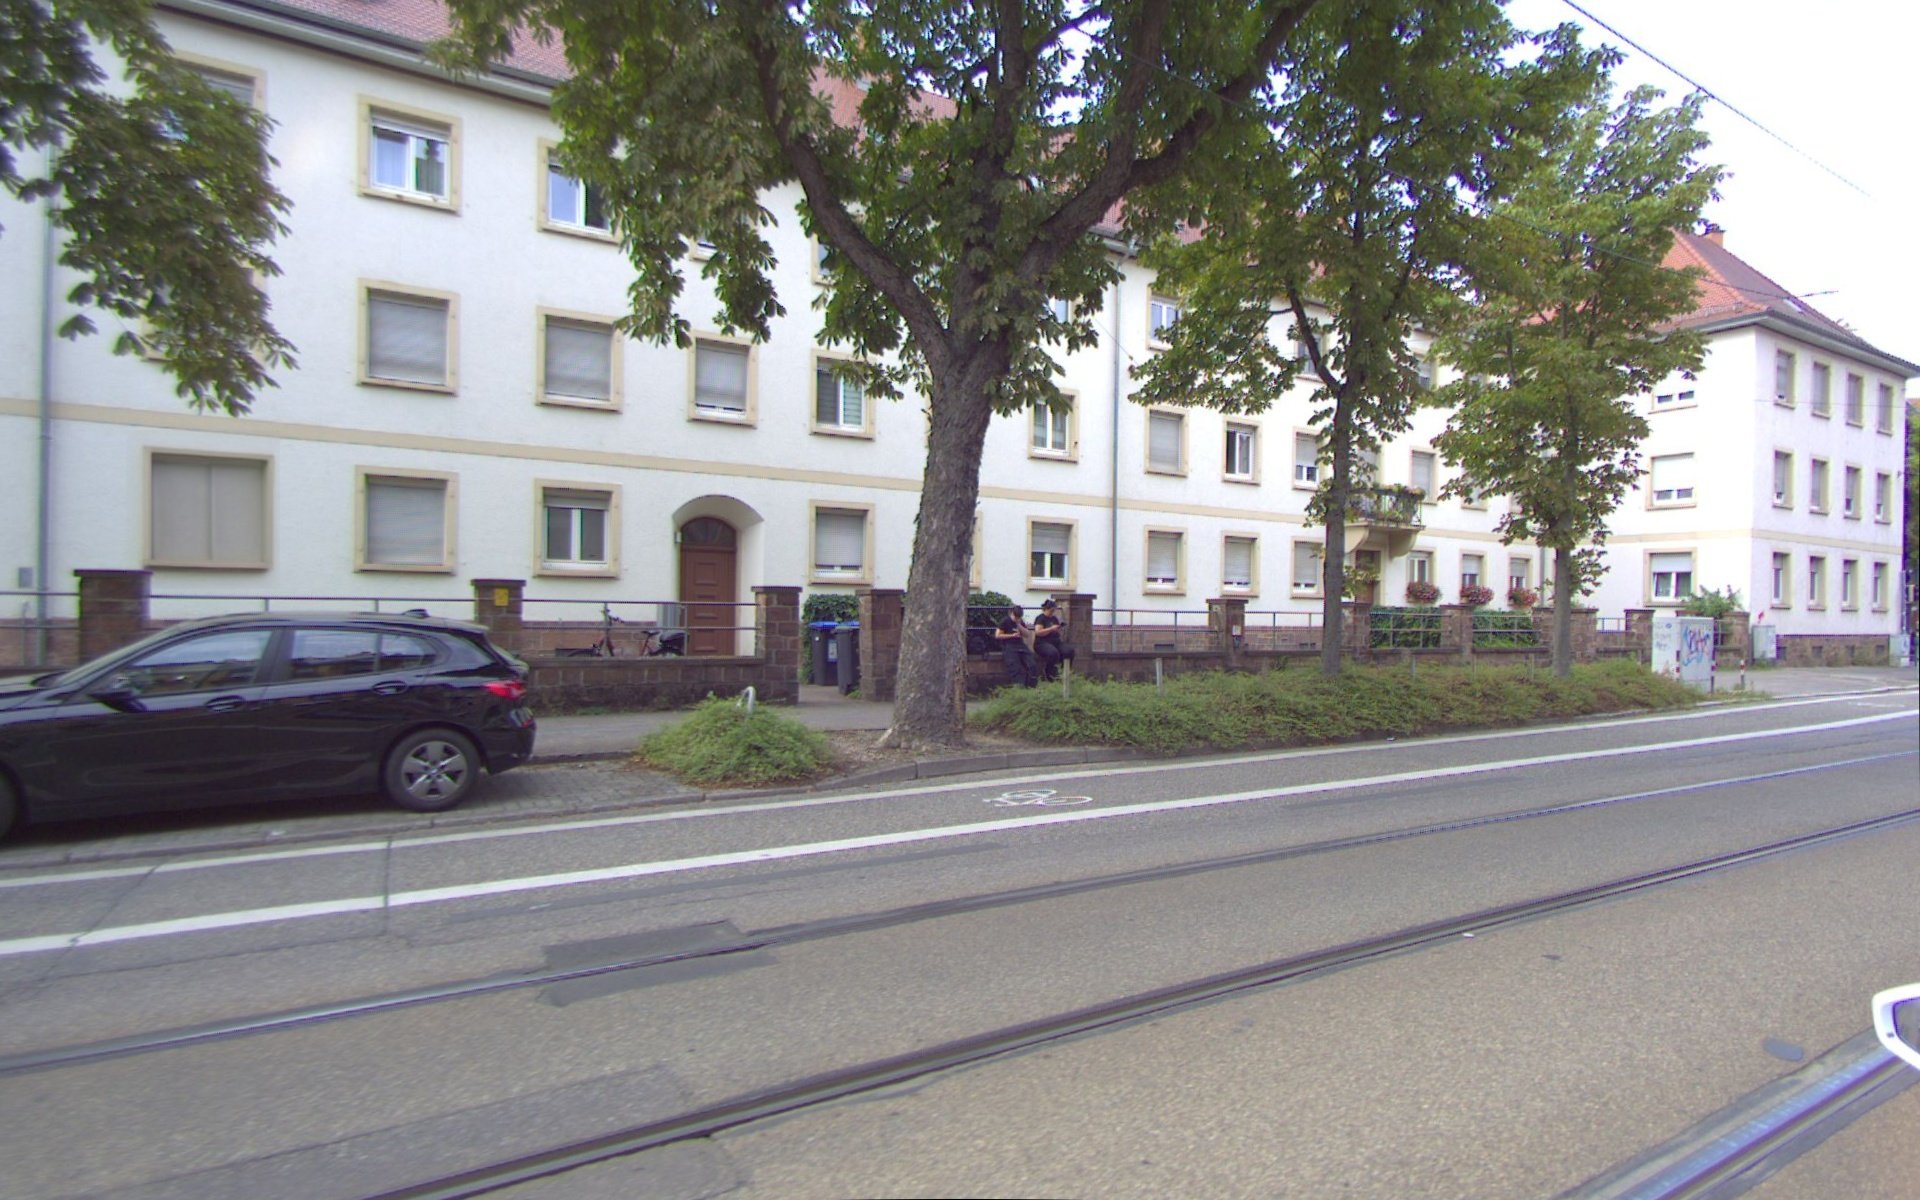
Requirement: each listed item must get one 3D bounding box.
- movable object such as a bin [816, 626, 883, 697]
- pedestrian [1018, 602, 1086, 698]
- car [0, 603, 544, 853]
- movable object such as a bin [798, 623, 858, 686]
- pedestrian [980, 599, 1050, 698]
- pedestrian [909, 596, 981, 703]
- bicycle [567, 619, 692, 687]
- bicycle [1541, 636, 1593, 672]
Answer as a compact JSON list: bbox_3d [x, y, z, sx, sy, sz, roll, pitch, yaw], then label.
[{"bbox_3d":[-1.712,0.936,15.559,0.826,1.038,0.656,1,0,-31],"label":"movable object such as a bin"},{"bbox_3d":[1.473,0.778,16.126,0.725,1.484,0.827,1,0,-36],"label":"pedestrian"},{"bbox_3d":[-5.480,0.812,7.413,4.250,1.442,1.688,1,3,-31],"label":"car"},{"bbox_3d":[-2.273,0.923,17.231,0.826,1.038,0.656,1,0,-31],"label":"movable object such as a bin"},{"bbox_3d":[0.856,0.735,15.648,0.725,1.484,0.827,1,0,-36],"label":"pedestrian"},{"bbox_3d":[-0.223,0.719,15.000,0.725,1.532,0.827,1,0,-36],"label":"pedestrian"},{"bbox_3d":[-4.459,0.704,13.582,1.532,0.874,0.506,1,-1,-31],"label":"bicycle"},{"bbox_3d":[16.197,1.425,26.783,1.653,0.927,0.475,1,-1,-31],"label":"bicycle"}]
